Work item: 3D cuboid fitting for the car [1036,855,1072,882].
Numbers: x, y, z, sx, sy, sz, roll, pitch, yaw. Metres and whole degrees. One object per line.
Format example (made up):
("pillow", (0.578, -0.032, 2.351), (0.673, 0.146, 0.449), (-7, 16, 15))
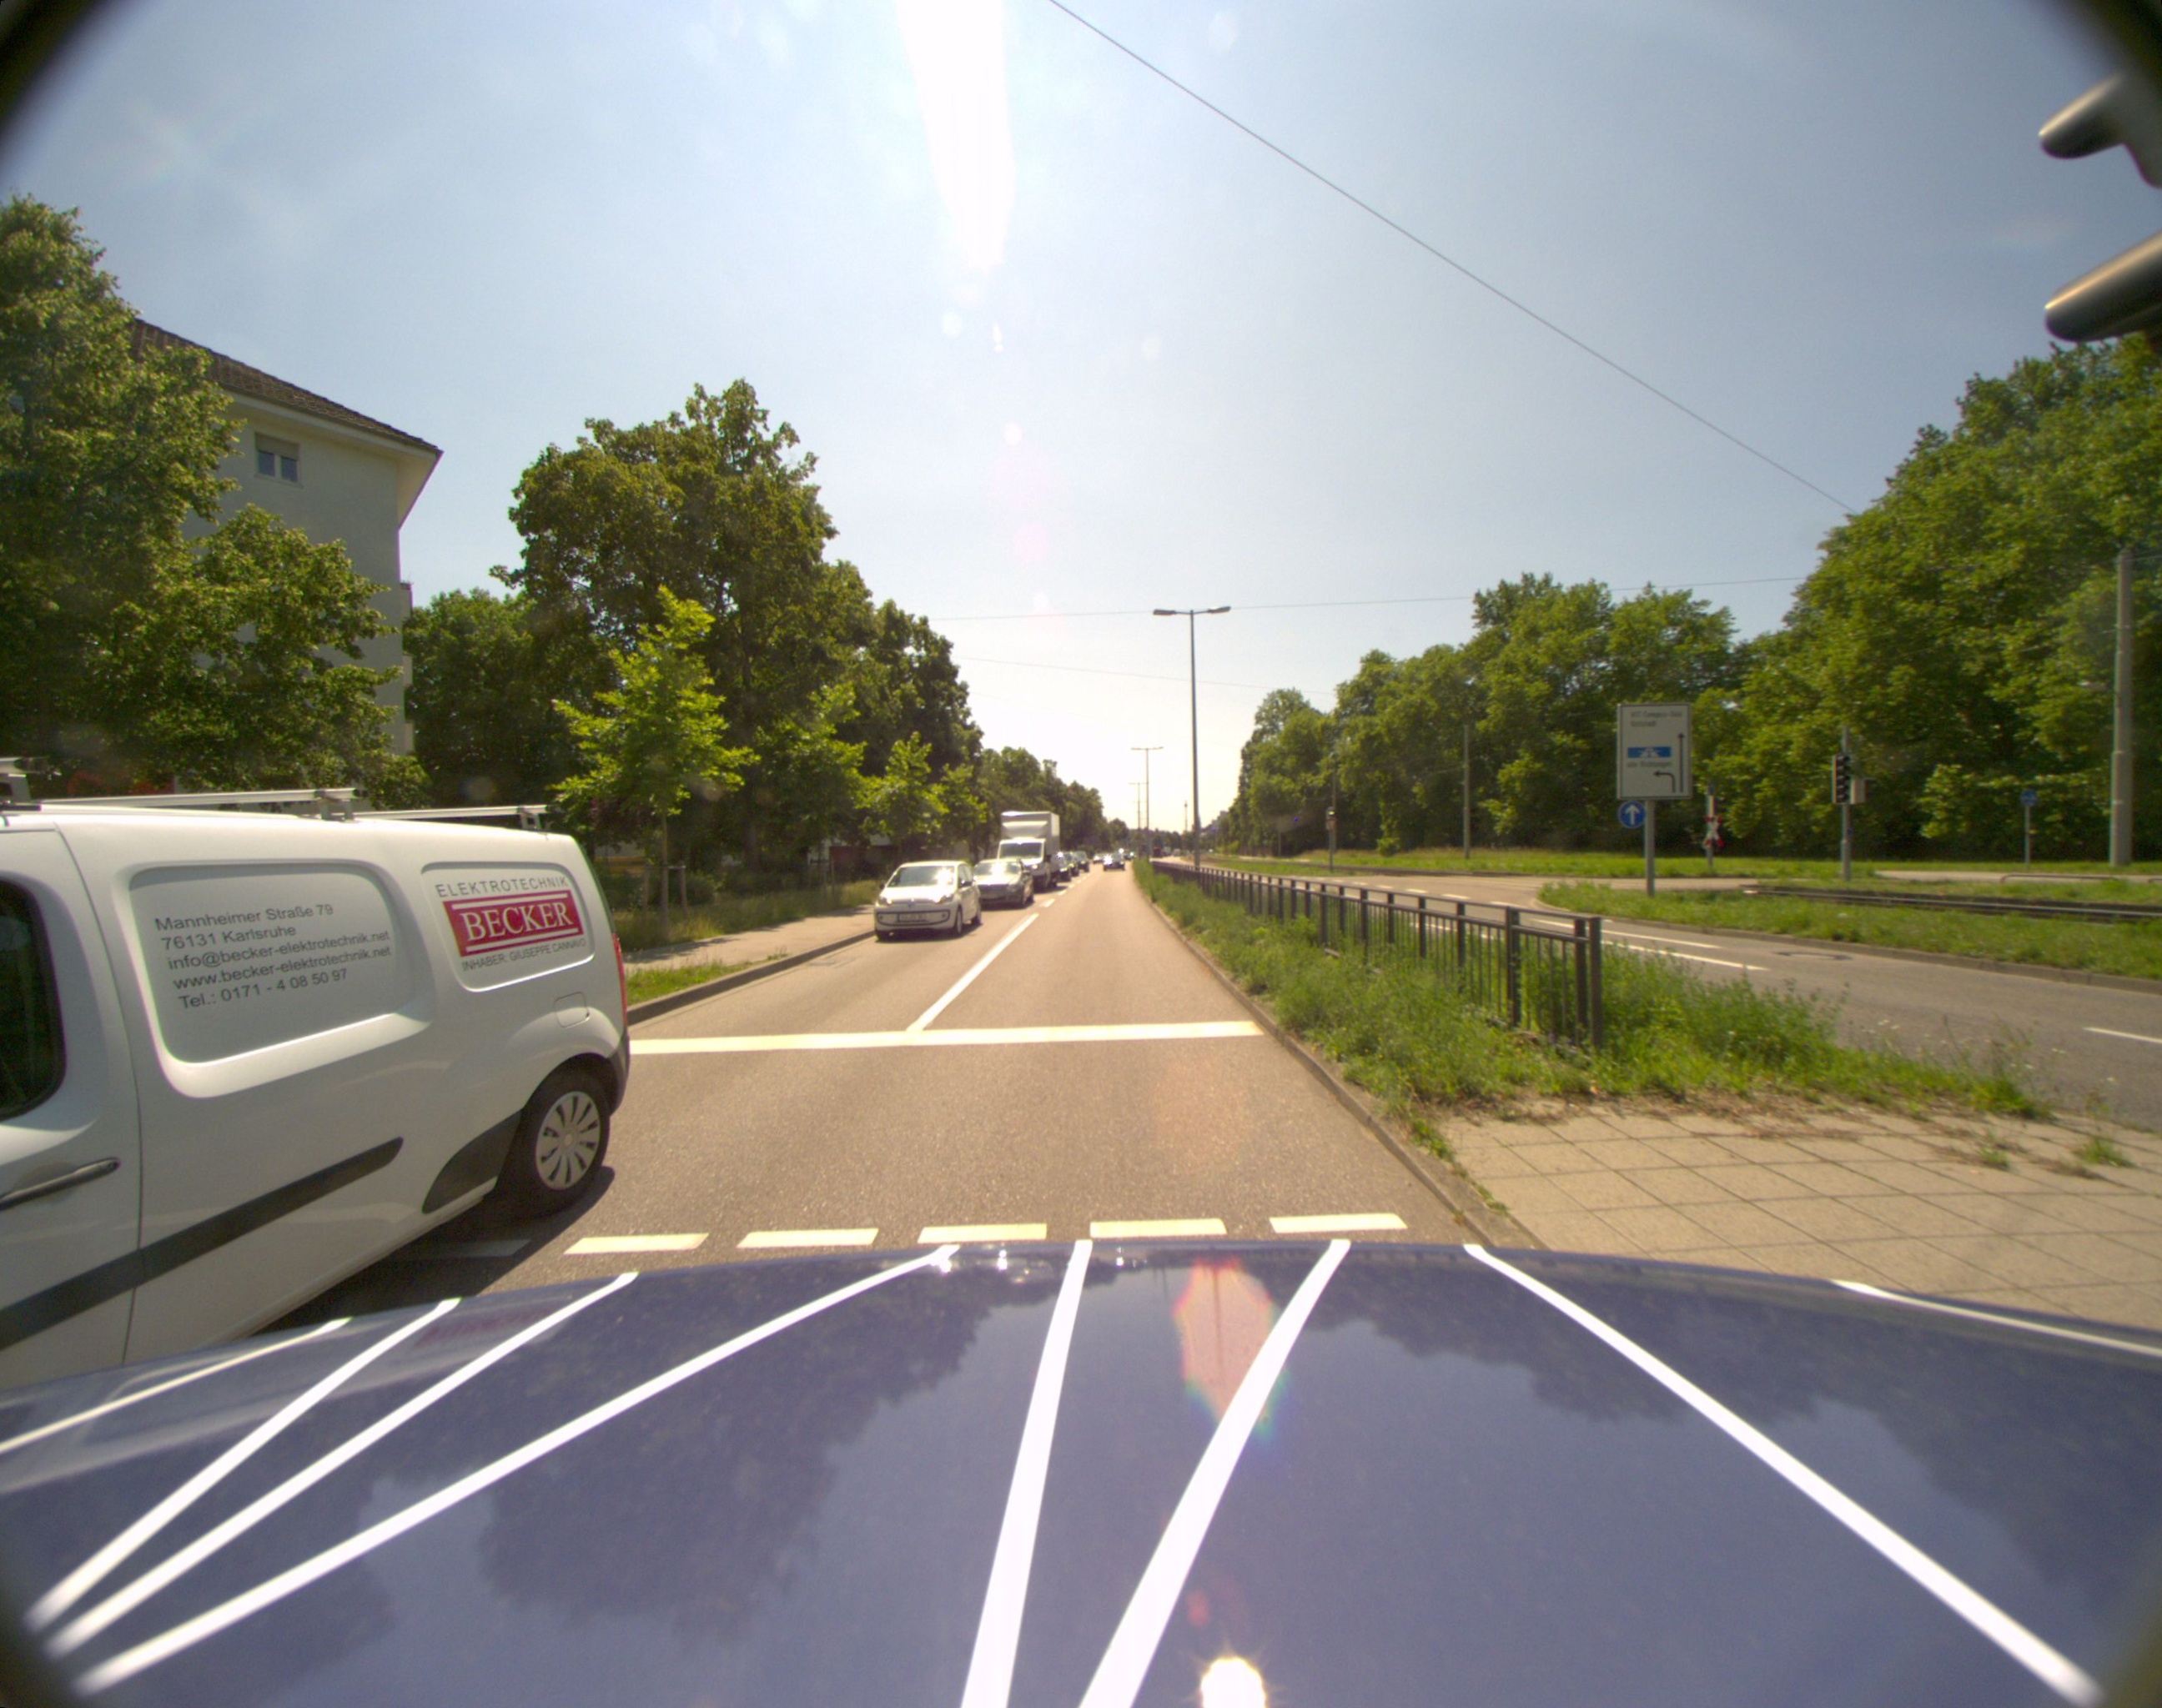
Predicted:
("car", (-1.470, 0.774, 42.136), (1.746, 1.382, 3.887), (-1, 1, 1))

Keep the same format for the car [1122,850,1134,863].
("car", (7.387, 0.358, 119.025), (1.746, 1.840, 3.887), (-1, 1, 1))

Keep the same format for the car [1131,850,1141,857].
("car", (11.060, -0.173, 152.092), (1.745, 1.382, 3.889), (-1, 1, 7))

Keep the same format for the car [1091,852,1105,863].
("car", (2.441, 0.506, 106.555), (1.745, 1.382, 3.888), (-1, 1, 4))

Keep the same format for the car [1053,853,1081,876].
("car", (-0.916, 0.664, 51.545), (1.618, 1.373, 4.114), (-2, 1, 2))

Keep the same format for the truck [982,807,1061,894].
("truck", (-2.350, -0.154, 32.250), (2.489, 3.277, 6.605), (-1, 1, 3))

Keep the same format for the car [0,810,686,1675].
("car", (-3.243, 0.862, 1.853), (1.809, 1.845, 5.081), (-2, 1, 0))

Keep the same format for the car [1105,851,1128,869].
("car", (2.888, 0.473, 62.868), (1.746, 1.382, 3.887), (-1, 1, 1))

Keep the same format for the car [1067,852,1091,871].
("car", (-0.141, 0.576, 61.239), (1.746, 1.382, 3.887), (-1, 1, 1))

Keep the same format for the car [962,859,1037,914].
("car", (-2.364, 0.897, 22.923), (1.618, 1.373, 4.114), (-2, 1, 2))

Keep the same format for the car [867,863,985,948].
("car", (-3.094, 0.976, 15.834), (1.626, 1.433, 3.498), (-2, 1, 1))
